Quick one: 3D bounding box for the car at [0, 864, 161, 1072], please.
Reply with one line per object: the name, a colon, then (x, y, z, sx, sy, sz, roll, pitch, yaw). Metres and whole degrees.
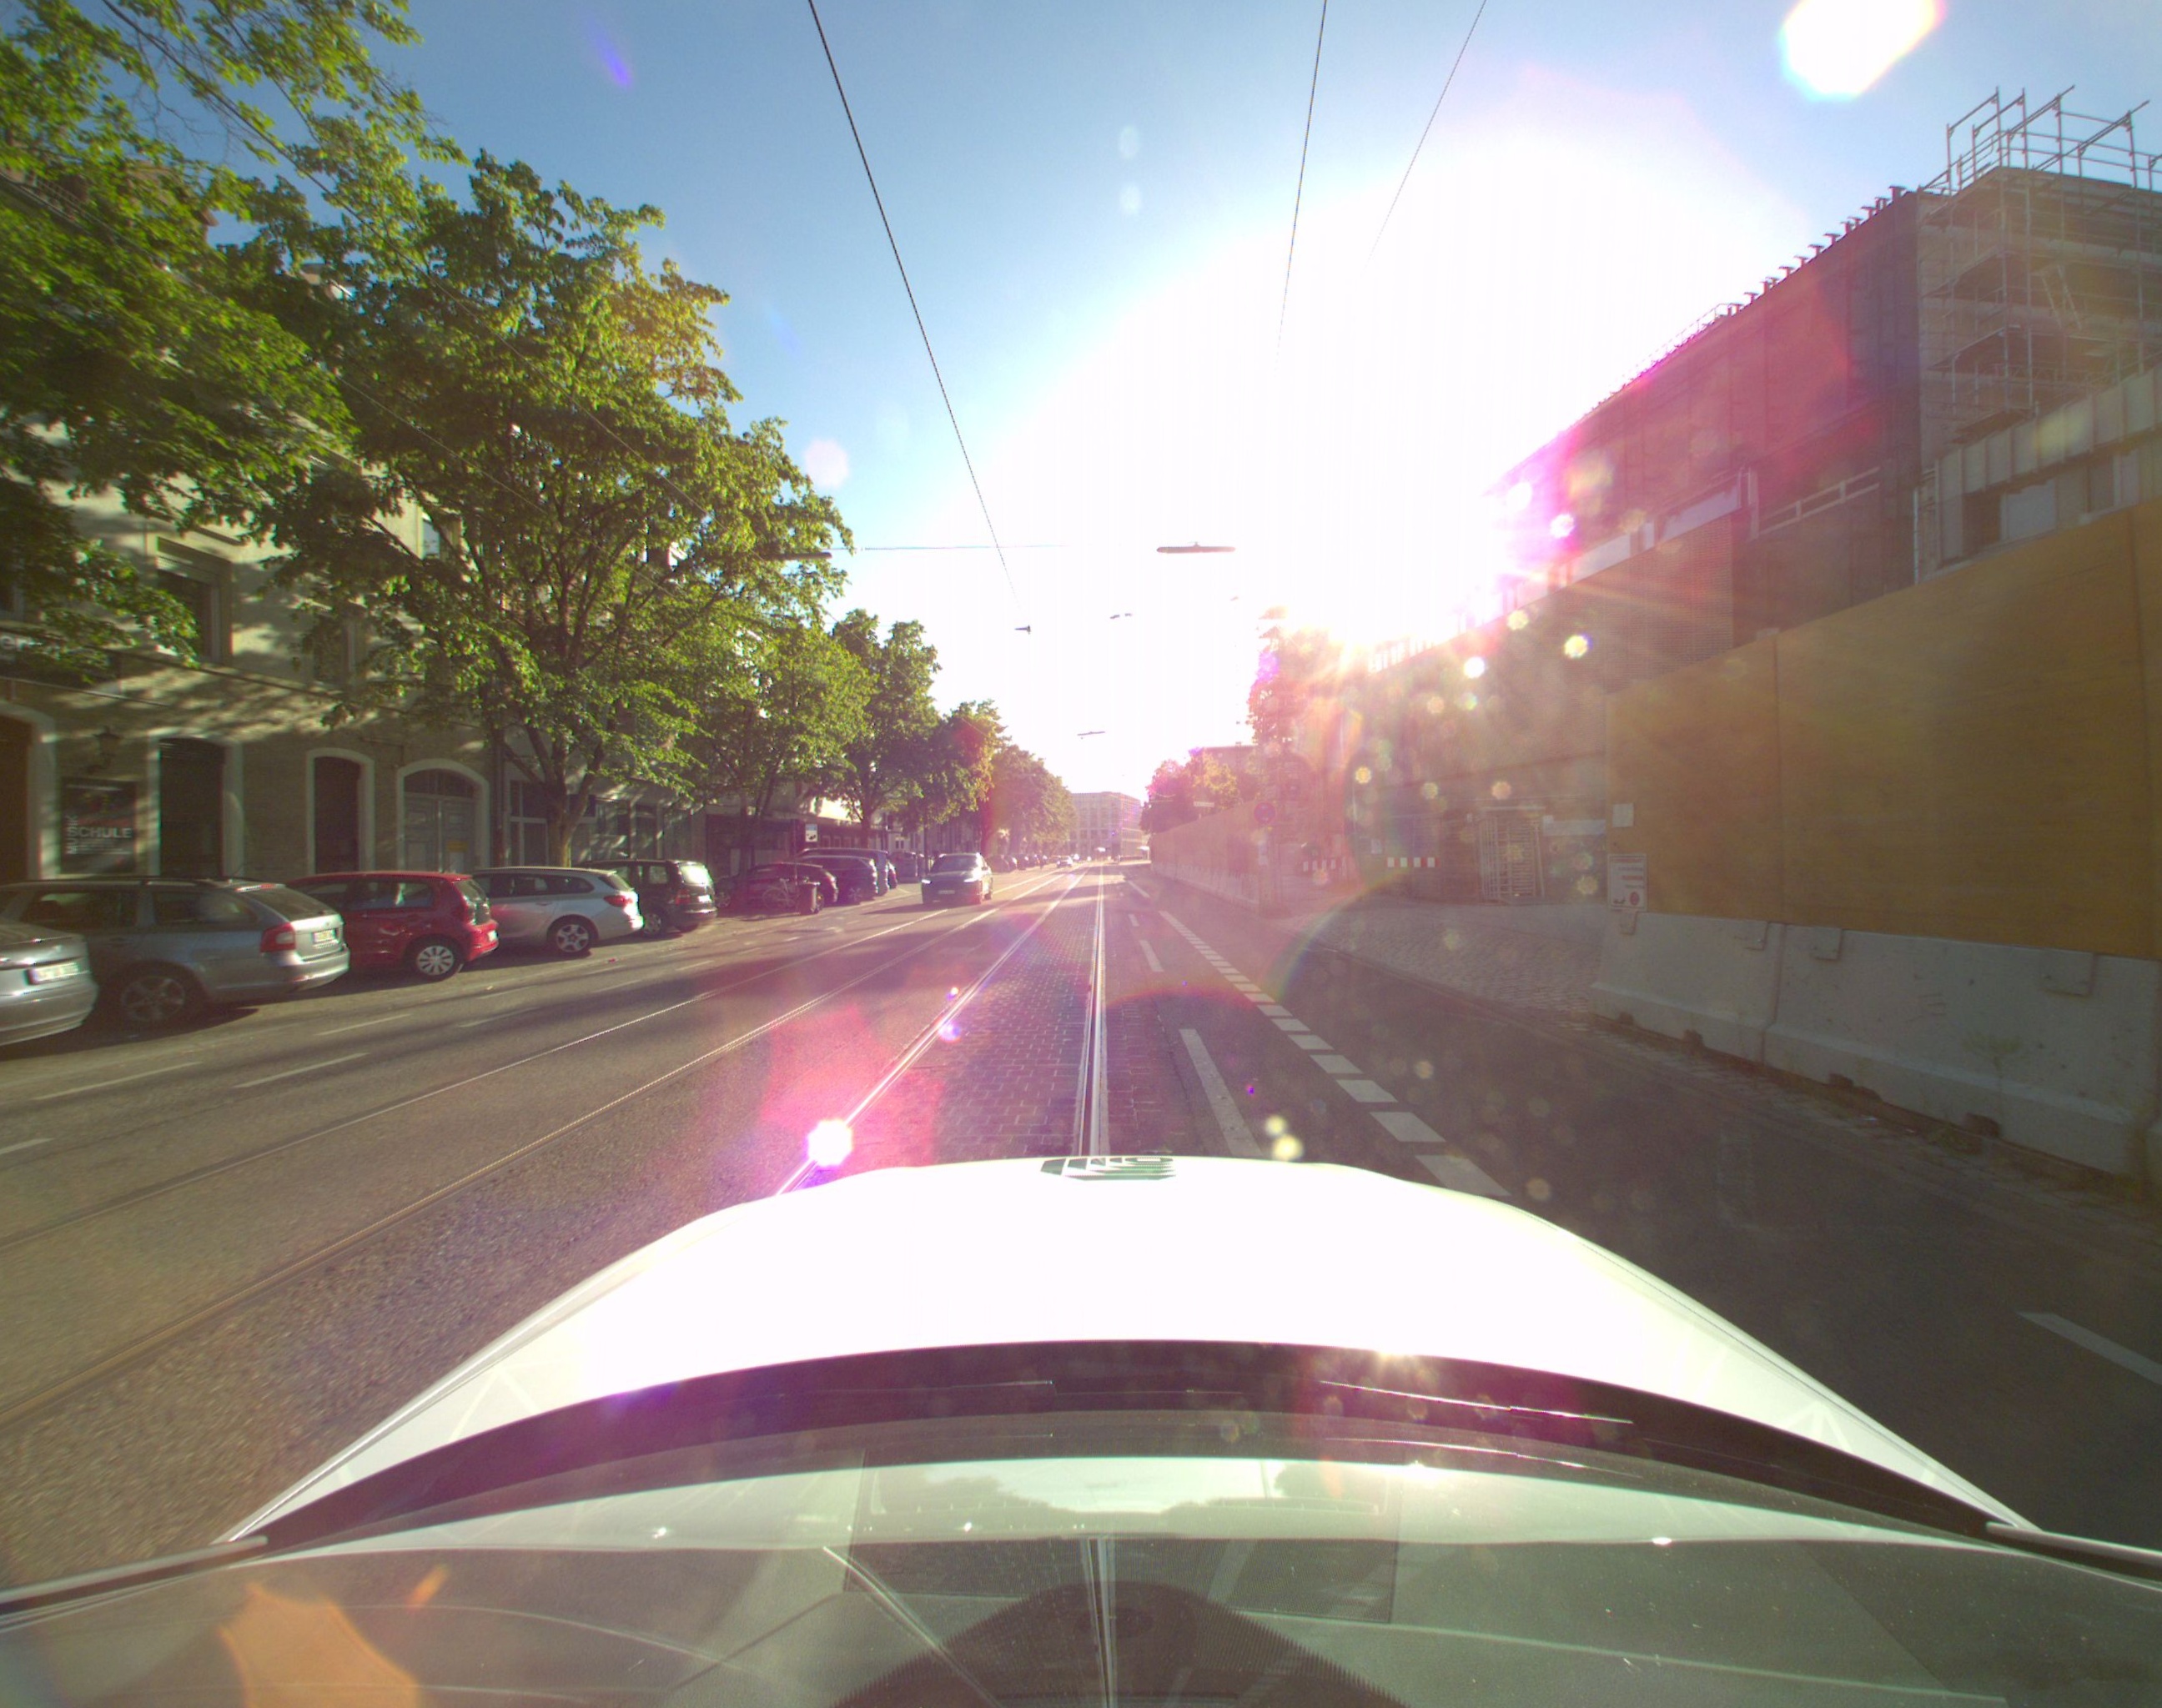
car: (-10.186, 0.824, 5.895, 4.210, 1.491, 1.927, 1, 0, -26)

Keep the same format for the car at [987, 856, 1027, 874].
car: (-7.516, 1.132, 82.430, 3.700, 1.721, 1.594, -1, 0, -34)

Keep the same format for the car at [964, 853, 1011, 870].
car: (-8.430, 0.693, 73.581, 3.927, 1.453, 1.621, 1, -1, -32)

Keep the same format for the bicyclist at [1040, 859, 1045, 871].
bicyclist: (-4.268, 1.195, 89.789, 0.456, 1.378, 0.640, -1, 0, -3)

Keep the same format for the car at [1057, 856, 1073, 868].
car: (-1.991, 0.960, 100.334, 1.703, 1.436, 4.173, -1, 0, 2)

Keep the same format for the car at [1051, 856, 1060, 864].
car: (-5.010, 1.151, 161.711, 1.567, 1.490, 4.001, -1, 0, 2)

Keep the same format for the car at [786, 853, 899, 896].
car: (-9.935, 0.846, 33.873, 4.300, 1.666, 1.897, 2, -1, -23)

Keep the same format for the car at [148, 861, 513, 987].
car: (-10.112, 0.880, 11.330, 3.380, 1.493, 1.599, 1, 0, -27)

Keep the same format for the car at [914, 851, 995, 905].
car: (-4.119, 0.738, 27.148, 1.921, 1.629, 4.250, -1, 0, 1)

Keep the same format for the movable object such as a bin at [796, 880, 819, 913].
movable object such as a bin: (-7.993, 1.240, 23.773, 0.576, 0.913, 0.572, 1, 0, -15)

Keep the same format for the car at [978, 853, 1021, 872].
car: (-7.716, 0.786, 77.293, 3.700, 1.721, 1.594, -1, 0, -34)

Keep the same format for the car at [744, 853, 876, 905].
car: (-9.465, 0.833, 28.587, 4.249, 1.685, 1.799, -1, 0, -20)

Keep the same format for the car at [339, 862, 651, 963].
car: (-9.921, 0.930, 14.243, 4.124, 1.512, 1.826, 1, 0, -25)

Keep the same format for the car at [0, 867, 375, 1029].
car: (-10.018, 0.885, 8.470, 3.692, 1.470, 1.738, 1, -1, -28)

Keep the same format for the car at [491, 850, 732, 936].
car: (-10.072, 0.812, 17.710, 4.092, 1.678, 1.840, 1, 0, -1)

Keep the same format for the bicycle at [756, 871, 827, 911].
bicycle: (-8.632, 1.103, 24.336, 1.970, 1.144, 0.490, 1, -1, -17)

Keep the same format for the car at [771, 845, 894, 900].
car: (-9.512, 0.712, 31.196, 4.369, 1.986, 1.936, 1, -1, -21)

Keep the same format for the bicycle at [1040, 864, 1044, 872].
bicycle: (-4.294, 1.537, 89.779, 0.448, 0.881, 1.899, -1, 0, -3)

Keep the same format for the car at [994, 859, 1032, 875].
car: (-7.933, 1.526, 95.525, 4.181, 1.721, 1.570, 0, -1, -26)

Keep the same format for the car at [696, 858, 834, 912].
car: (-9.812, 0.932, 25.607, 3.865, 1.476, 1.833, -2, 0, -17)
